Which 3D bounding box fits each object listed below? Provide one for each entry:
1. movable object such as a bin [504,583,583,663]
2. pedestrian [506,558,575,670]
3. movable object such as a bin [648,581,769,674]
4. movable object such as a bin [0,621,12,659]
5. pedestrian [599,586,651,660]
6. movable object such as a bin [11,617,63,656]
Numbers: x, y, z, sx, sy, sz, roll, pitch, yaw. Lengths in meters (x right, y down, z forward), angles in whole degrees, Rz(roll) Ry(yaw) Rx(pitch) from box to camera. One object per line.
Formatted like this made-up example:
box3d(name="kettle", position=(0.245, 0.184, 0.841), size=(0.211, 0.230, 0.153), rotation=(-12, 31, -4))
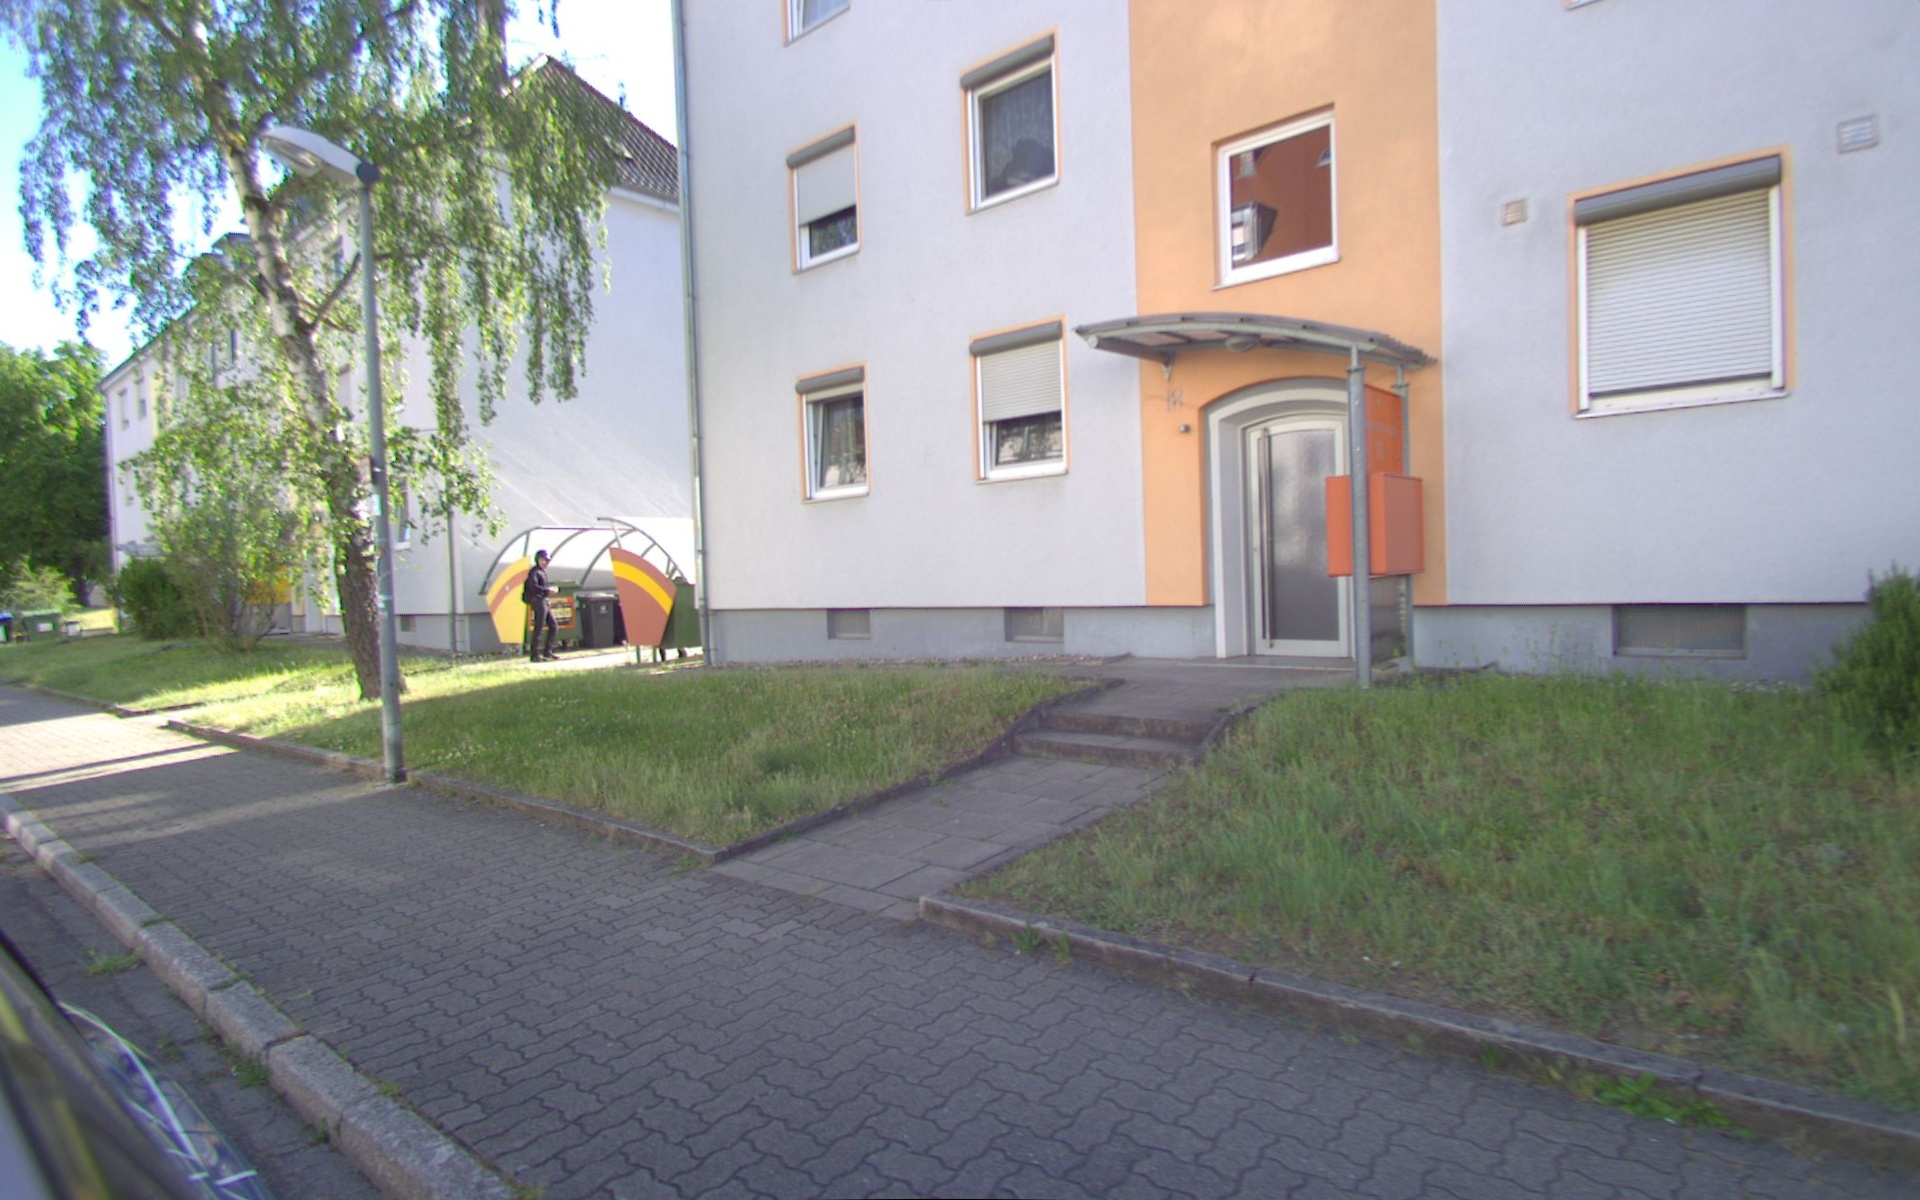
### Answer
box3d(name="movable object such as a bin", position=(-7.870, 0.428, 19.147), size=(0.812, 1.416, 1.073), rotation=(-2, 1, 41))
box3d(name="pedestrian", position=(-7.115, 0.226, 17.157), size=(0.718, 1.837, 0.797), rotation=(-2, 0, 41))
box3d(name="movable object such as a bin", position=(-4.055, 0.434, 16.341), size=(1.227, 1.345, 1.374), rotation=(-2, 2, 40))
box3d(name="movable object such as a bin", position=(-39.236, 1.680, 40.723), size=(1.082, 1.470, 1.342), rotation=(-2, 5, 40))
box3d(name="pedestrian", position=(-6.181, 0.417, 18.670), size=(0.575, 1.327, 0.679), rotation=(-2, 0, 41))
box3d(name="movable object such as a bin", position=(-38.251, 1.504, 41.939), size=(1.072, 1.463, 1.347), rotation=(-2, 5, 40))
